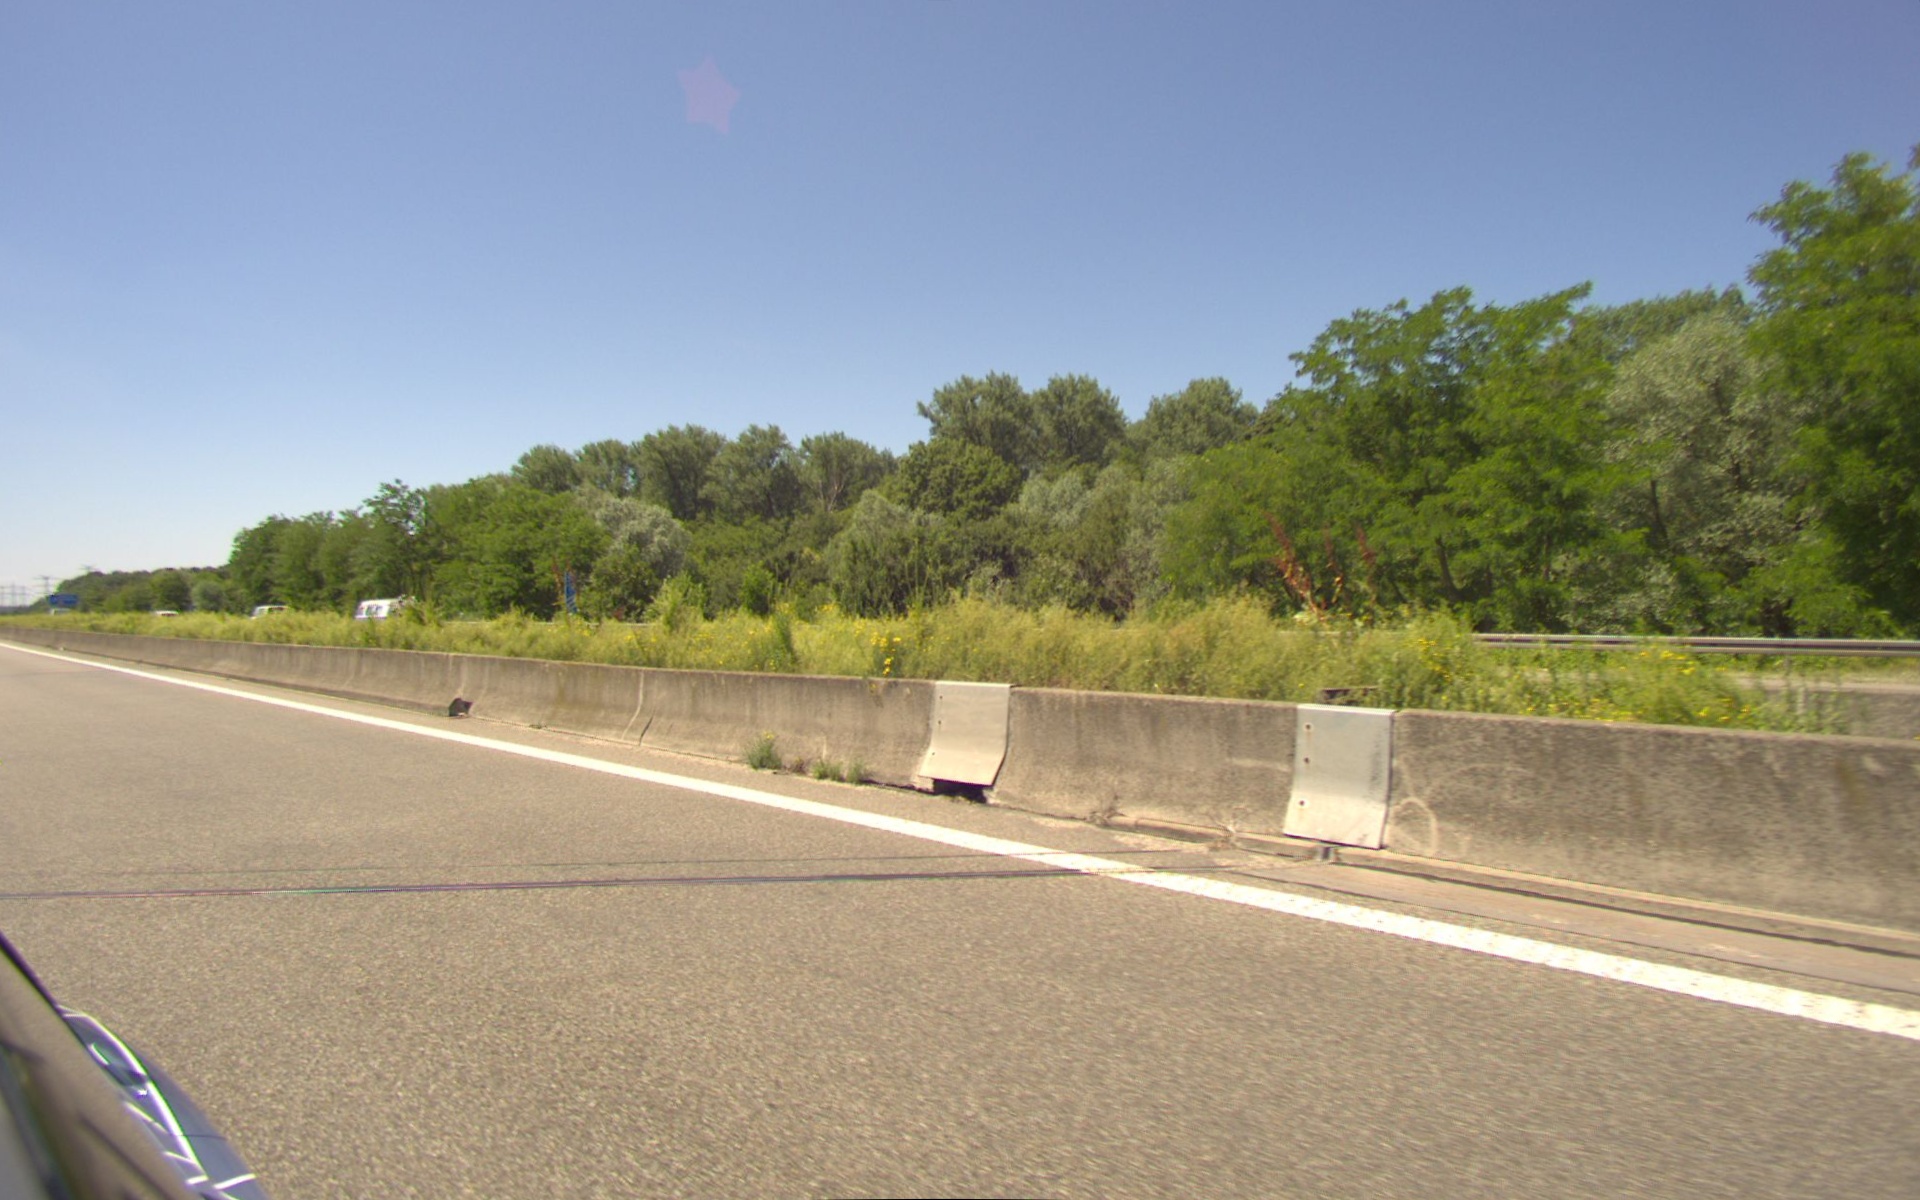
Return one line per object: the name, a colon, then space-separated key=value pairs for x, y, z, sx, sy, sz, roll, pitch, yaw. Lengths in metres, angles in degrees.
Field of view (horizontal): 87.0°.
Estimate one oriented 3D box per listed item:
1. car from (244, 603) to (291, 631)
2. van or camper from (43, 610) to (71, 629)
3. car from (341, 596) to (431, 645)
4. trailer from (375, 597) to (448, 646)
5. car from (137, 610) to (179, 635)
car: x=-51.549 y=1.241 z=75.287 sx=4.618 sy=2.029 sz=1.972 roll=-1 pitch=-1 yaw=43
van or camper: x=-115.612 y=2.521 z=129.483 sx=6.762 sy=2.405 sz=2.225 roll=-1 pitch=-1 yaw=44
car: x=-25.933 y=0.903 z=45.666 sx=4.970 sy=2.098 sz=2.102 roll=-1 pitch=-1 yaw=43
trailer: x=-23.570 y=0.895 z=43.503 sx=2.368 sy=2.041 sz=2.080 roll=-1 pitch=-1 yaw=42
car: x=-63.291 y=1.745 z=79.822 sx=4.722 sy=1.914 sz=1.884 roll=-1 pitch=-1 yaw=43
